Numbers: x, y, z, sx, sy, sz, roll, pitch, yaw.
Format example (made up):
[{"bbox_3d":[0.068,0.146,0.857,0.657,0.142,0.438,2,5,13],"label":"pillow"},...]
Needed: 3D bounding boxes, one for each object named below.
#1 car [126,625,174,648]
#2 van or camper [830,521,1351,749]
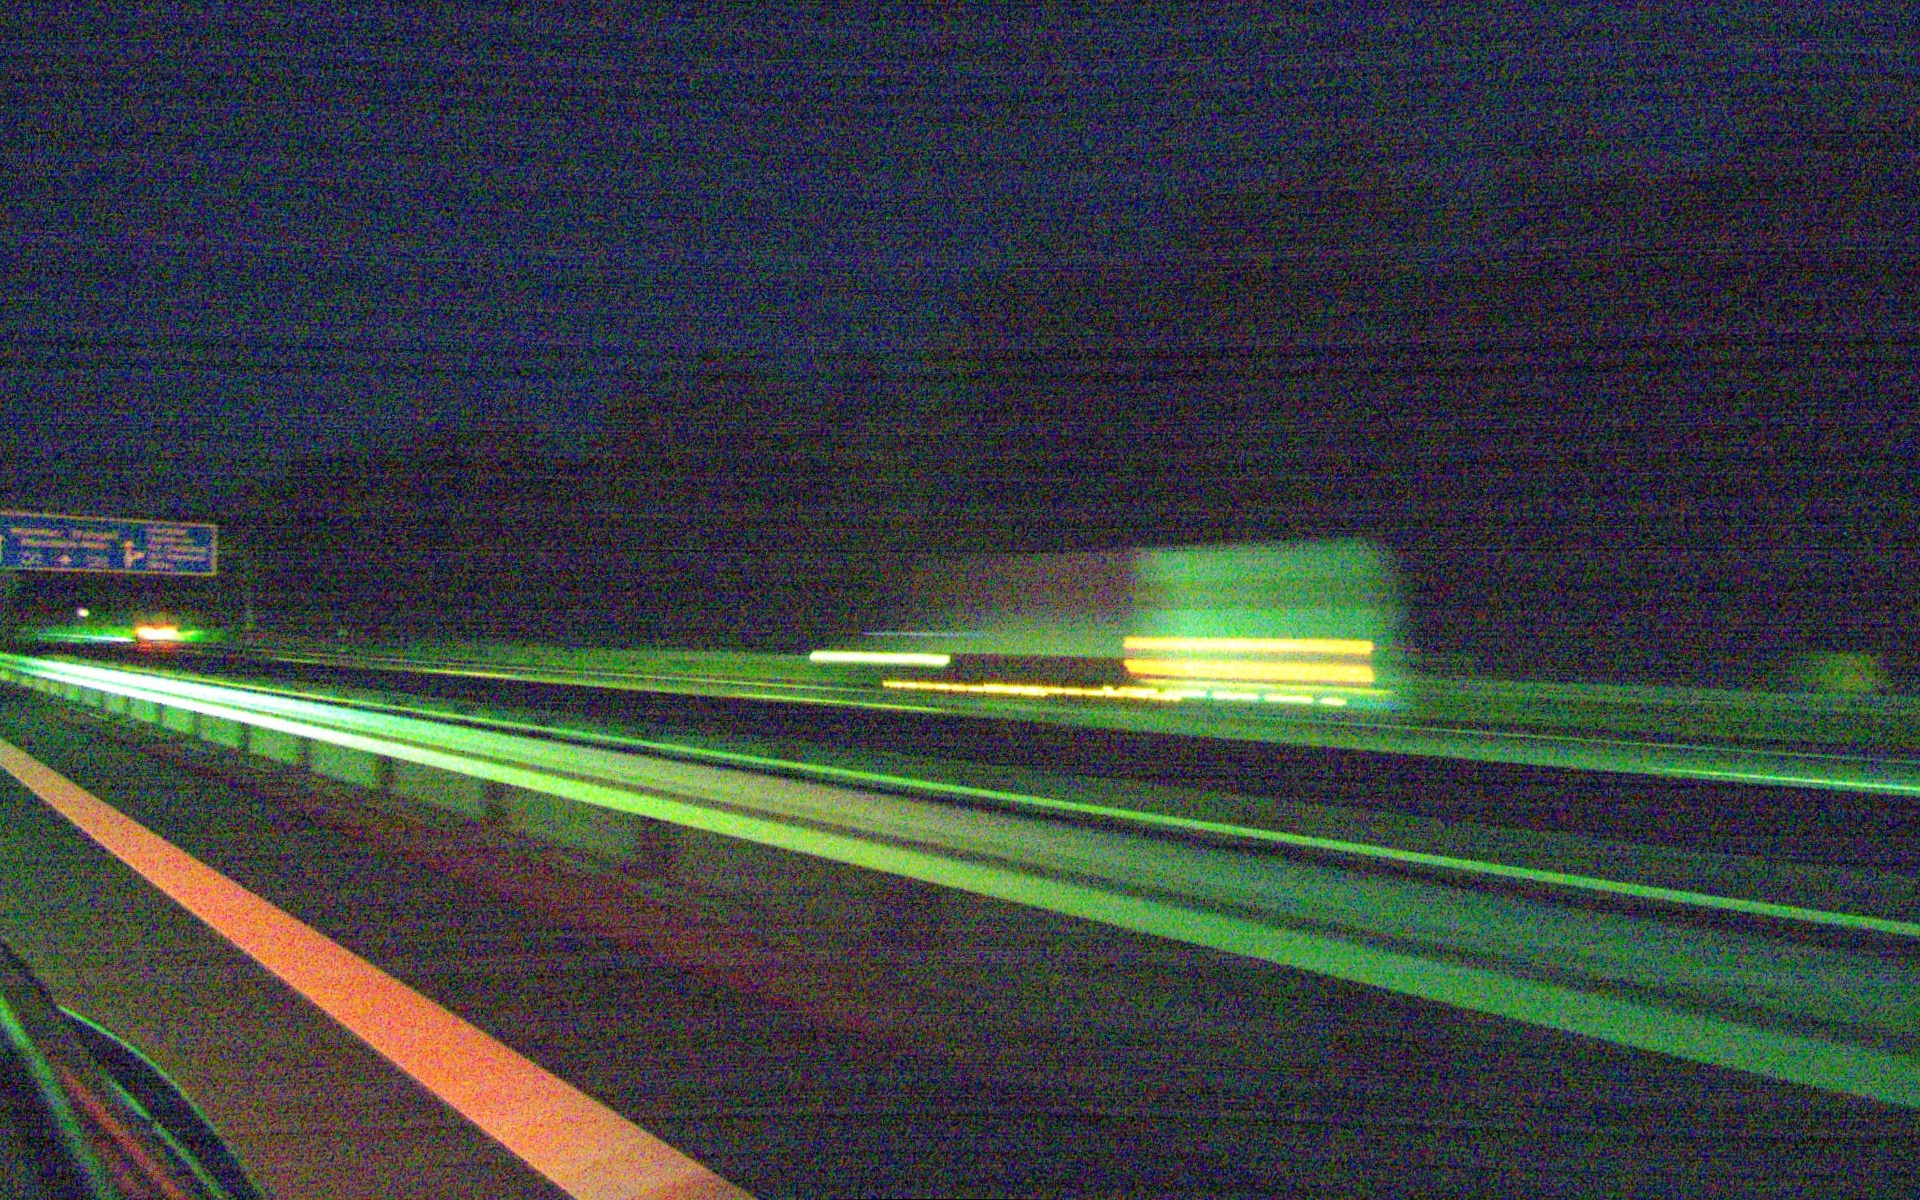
[{"bbox_3d":[-59.677,2.677,74.518,4.547,1.553,1.772,-2,-5,39],"label":"car"},{"bbox_3d":[1.544,0.546,15.177,7.773,2.651,2.305,-2,-4,41],"label":"van or camper"}]
